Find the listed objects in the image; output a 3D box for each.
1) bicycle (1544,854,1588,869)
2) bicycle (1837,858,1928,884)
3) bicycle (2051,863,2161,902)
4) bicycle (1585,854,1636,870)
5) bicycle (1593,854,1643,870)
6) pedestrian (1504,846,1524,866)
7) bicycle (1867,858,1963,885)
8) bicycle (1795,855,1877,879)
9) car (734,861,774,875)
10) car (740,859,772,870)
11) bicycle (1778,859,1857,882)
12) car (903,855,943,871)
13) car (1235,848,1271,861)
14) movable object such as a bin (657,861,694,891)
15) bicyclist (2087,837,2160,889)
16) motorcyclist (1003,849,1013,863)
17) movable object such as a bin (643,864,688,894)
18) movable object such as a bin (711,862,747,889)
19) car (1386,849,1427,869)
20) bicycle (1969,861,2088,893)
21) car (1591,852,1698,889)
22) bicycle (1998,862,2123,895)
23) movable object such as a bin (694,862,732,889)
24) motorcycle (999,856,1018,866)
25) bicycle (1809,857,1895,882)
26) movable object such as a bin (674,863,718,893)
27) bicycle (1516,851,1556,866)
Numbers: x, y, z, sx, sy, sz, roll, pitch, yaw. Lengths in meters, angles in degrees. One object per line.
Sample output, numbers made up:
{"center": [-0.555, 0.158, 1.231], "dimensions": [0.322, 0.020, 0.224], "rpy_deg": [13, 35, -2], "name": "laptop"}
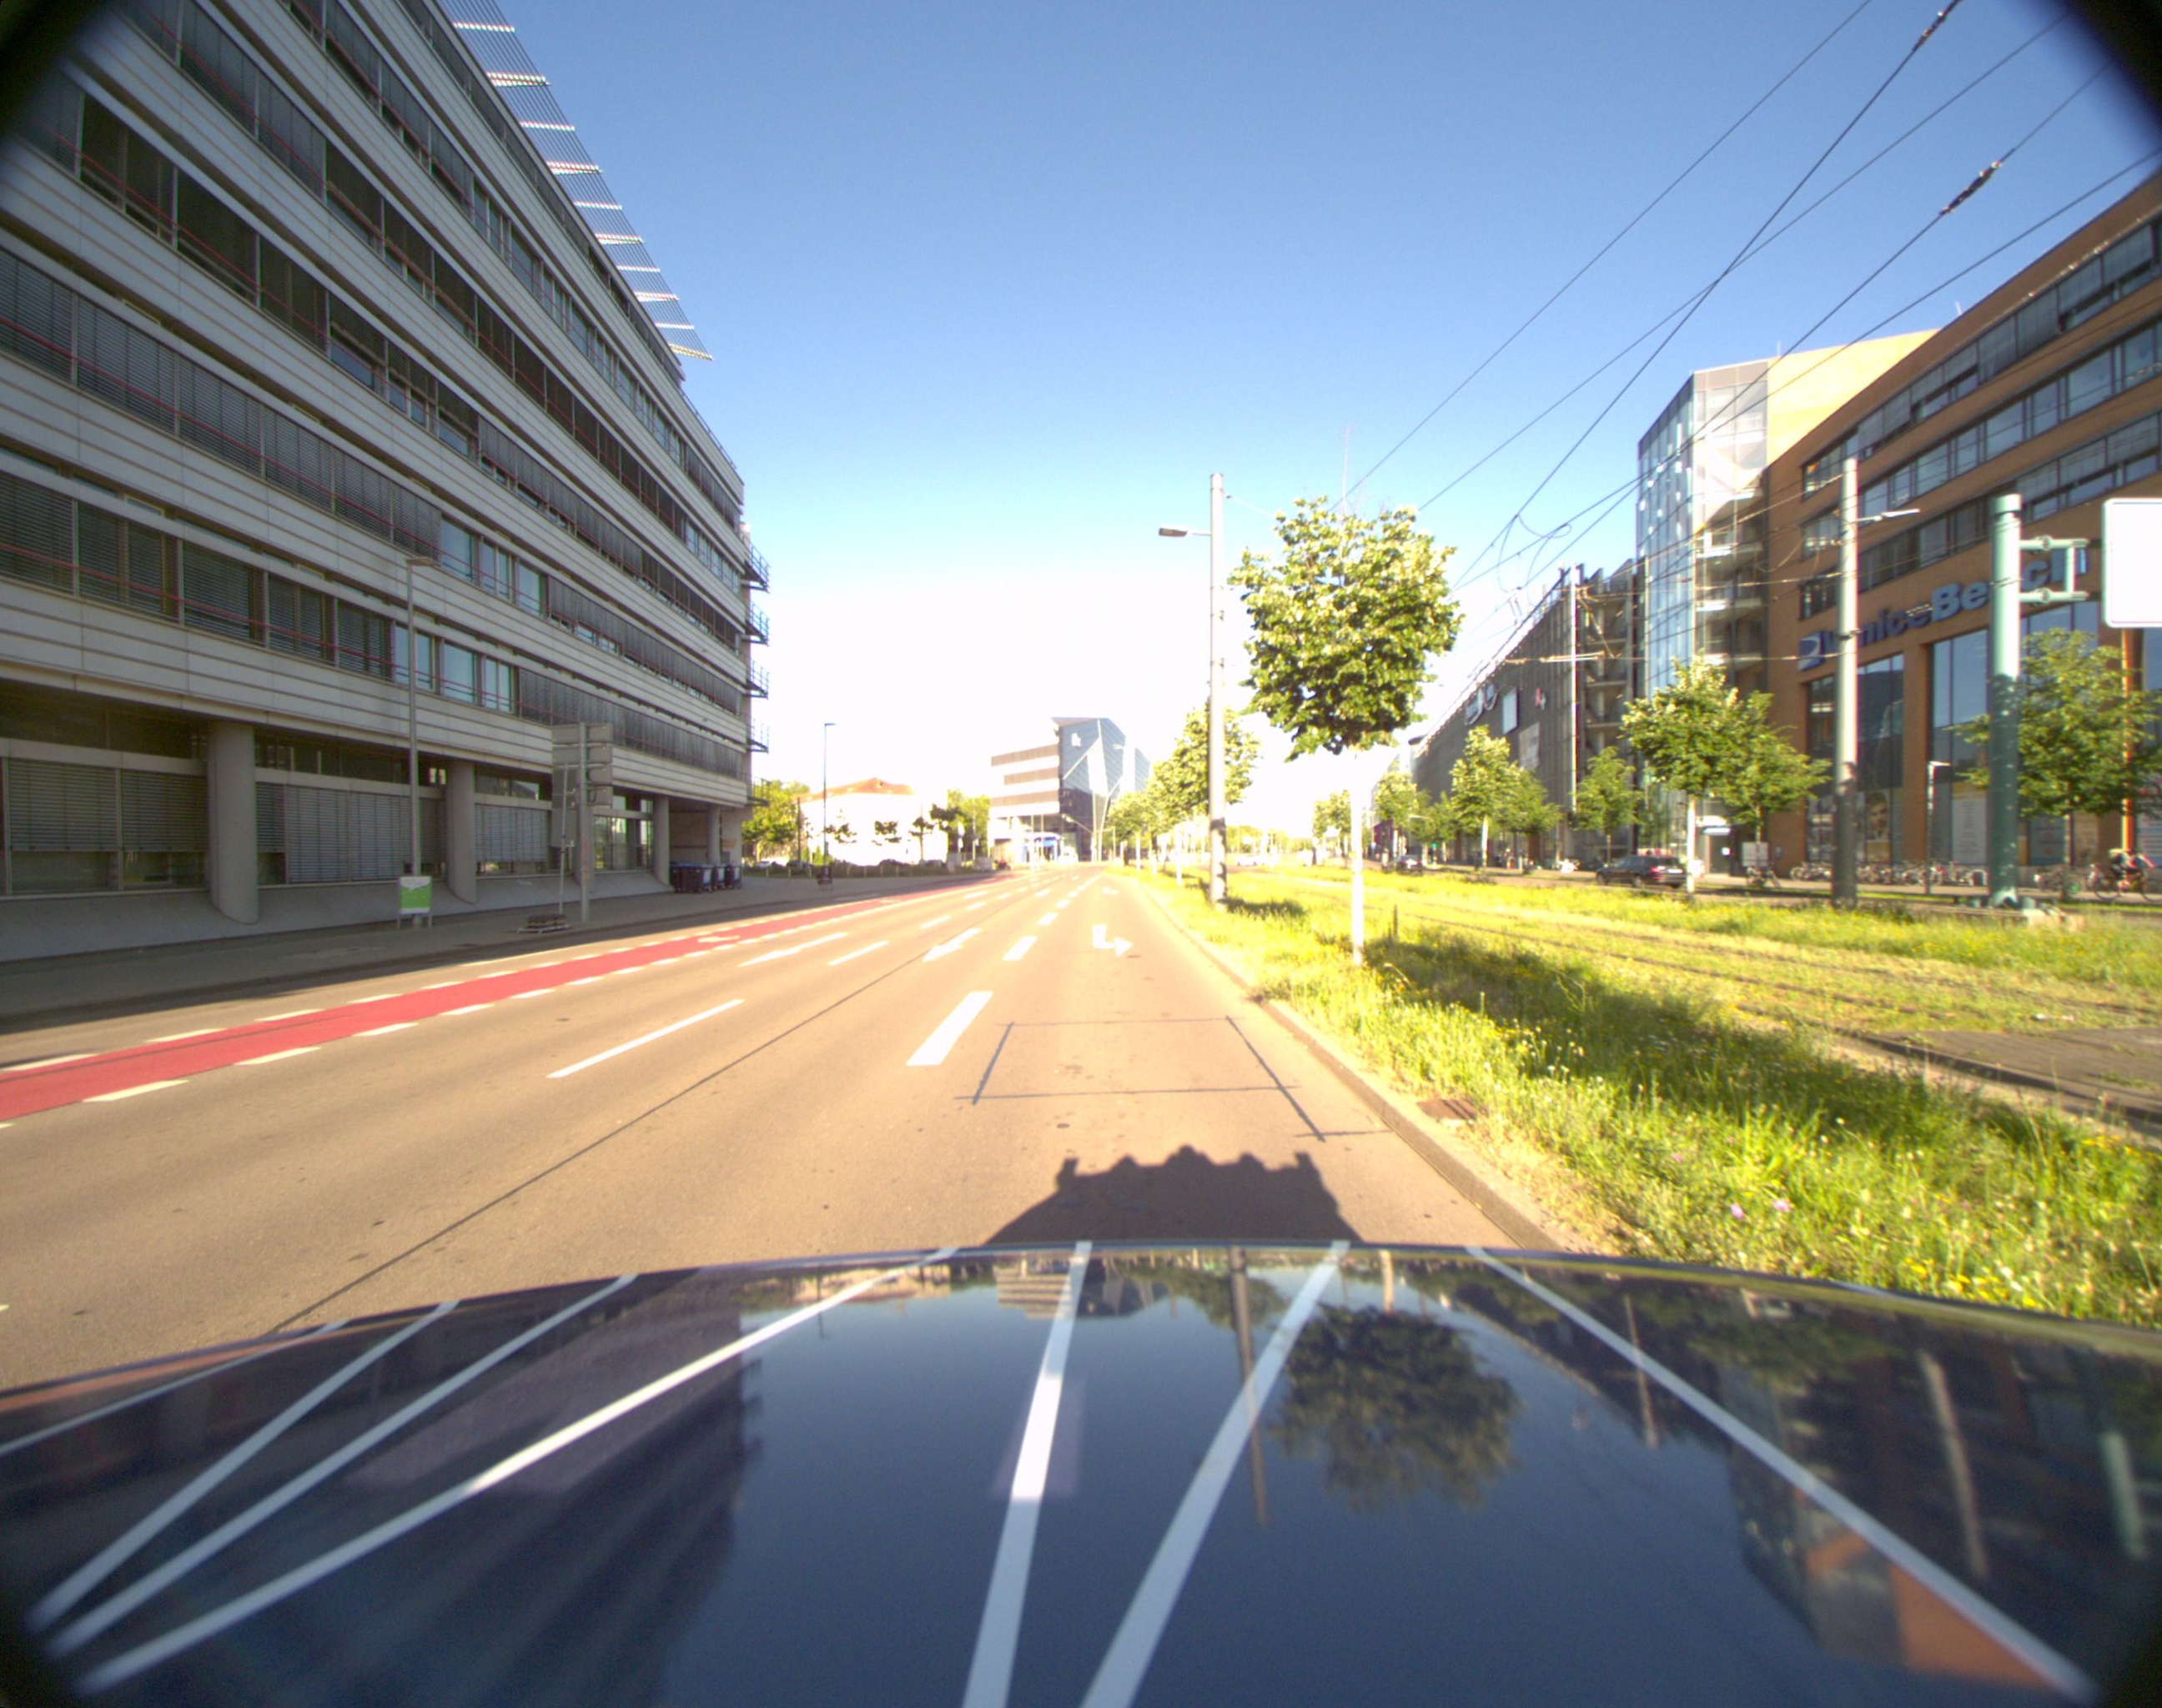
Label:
{"center": [36.852, 0.587, 57.736], "dimensions": [2.687, 1.097, 0.897], "rpy_deg": [0, 0, 11], "name": "bicycle"}
{"center": [34.575, 0.719, 32.804], "dimensions": [2.687, 1.097, 0.897], "rpy_deg": [0, 0, 11], "name": "bicycle"}
{"center": [31.322, 0.830, 22.856], "dimensions": [0.895, 1.097, 2.692], "rpy_deg": [0, 0, 1], "name": "bicycle"}
{"center": [36.317, 0.536, 52.146], "dimensions": [2.687, 1.097, 0.897], "rpy_deg": [0, 0, 11], "name": "bicycle"}
{"center": [36.198, 0.546, 51.236], "dimensions": [2.687, 1.097, 0.826], "rpy_deg": [0, 0, 11], "name": "bicycle"}
{"center": [37.461, 0.188, 65.808], "dimensions": [1.072, 1.671, 1.095], "rpy_deg": [-1, 1, -6], "name": "pedestrian"}
{"center": [34.502, 0.736, 31.465], "dimensions": [2.687, 1.097, 0.897], "rpy_deg": [0, 0, 11], "name": "bicycle"}
{"center": [35.420, 0.603, 35.666], "dimensions": [2.687, 1.097, 0.897], "rpy_deg": [0, 0, 11], "name": "bicycle"}
{"center": [-36.444, 1.541, 84.615], "dimensions": [3.794, 1.523, 1.742], "rpy_deg": [0, 1, 13], "name": "car"}
{"center": [-44.807, 1.434, 104.745], "dimensions": [3.804, 1.523, 1.737], "rpy_deg": [-1, 1, -17], "name": "car"}
{"center": [35.661, 0.777, 36.827], "dimensions": [2.687, 1.097, 0.897], "rpy_deg": [0, 0, 11], "name": "bicycle"}
{"center": [-15.417, 0.860, 73.993], "dimensions": [3.790, 1.523, 1.744], "rpy_deg": [0, 1, 37], "name": "car"}
{"center": [21.283, 0.085, 94.260], "dimensions": [1.682, 1.519, 4.344], "rpy_deg": [0, 0, -34], "name": "car"}
{"center": [-19.091, 1.010, 35.824], "dimensions": [1.109, 1.366, 1.108], "rpy_deg": [-1, 1, 1], "name": "movable object such as a bin"}
{"center": [31.329, 0.270, 22.851], "dimensions": [0.895, 1.539, 0.939], "rpy_deg": [0, 0, 1], "name": "bicyclist"}
{"center": [-9.300, 0.247, 96.933], "dimensions": [1.111, 1.846, 0.822], "rpy_deg": [0, 1, 2], "name": "motorcyclist"}
{"center": [-18.520, 1.098, 33.895], "dimensions": [1.328, 1.294, 1.174], "rpy_deg": [-1, 1, 1], "name": "movable object such as a bin"}
{"center": [-17.774, 1.092, 38.386], "dimensions": [1.173, 1.293, 1.329], "rpy_deg": [-1, 1, 1], "name": "movable object such as a bin"}
{"center": [25.794, 0.358, 60.316], "dimensions": [1.625, 1.519, 4.357], "rpy_deg": [0, 0, 4], "name": "car"}
{"center": [33.487, 0.822, 26.891], "dimensions": [2.687, 1.097, 0.897], "rpy_deg": [0, 0, 11], "name": "bicycle"}
{"center": [25.165, 0.690, 34.120], "dimensions": [1.626, 1.519, 4.355], "rpy_deg": [0, 0, 1], "name": "car"}
{"center": [33.288, 0.815, 25.863], "dimensions": [2.687, 1.097, 0.897], "rpy_deg": [0, 0, 11], "name": "bicycle"}
{"center": [-17.937, 1.038, 37.042], "dimensions": [1.173, 1.293, 1.329], "rpy_deg": [-1, 1, 1], "name": "movable object such as a bin"}
{"center": [-9.263, 0.908, 96.950], "dimensions": [2.253, 1.214, 0.822], "rpy_deg": [0, 1, 2], "name": "motorcycle"}
{"center": [34.906, 0.688, 34.442], "dimensions": [2.687, 1.097, 0.897], "rpy_deg": [0, 0, 11], "name": "bicycle"}
{"center": [-17.156, 1.048, 33.895], "dimensions": [1.328, 1.294, 1.174], "rpy_deg": [-1, 1, 1], "name": "movable object such as a bin"}
{"center": [37.919, 0.396, 63.353], "dimensions": [2.687, 1.182, 0.897], "rpy_deg": [0, 0, 11], "name": "bicycle"}
